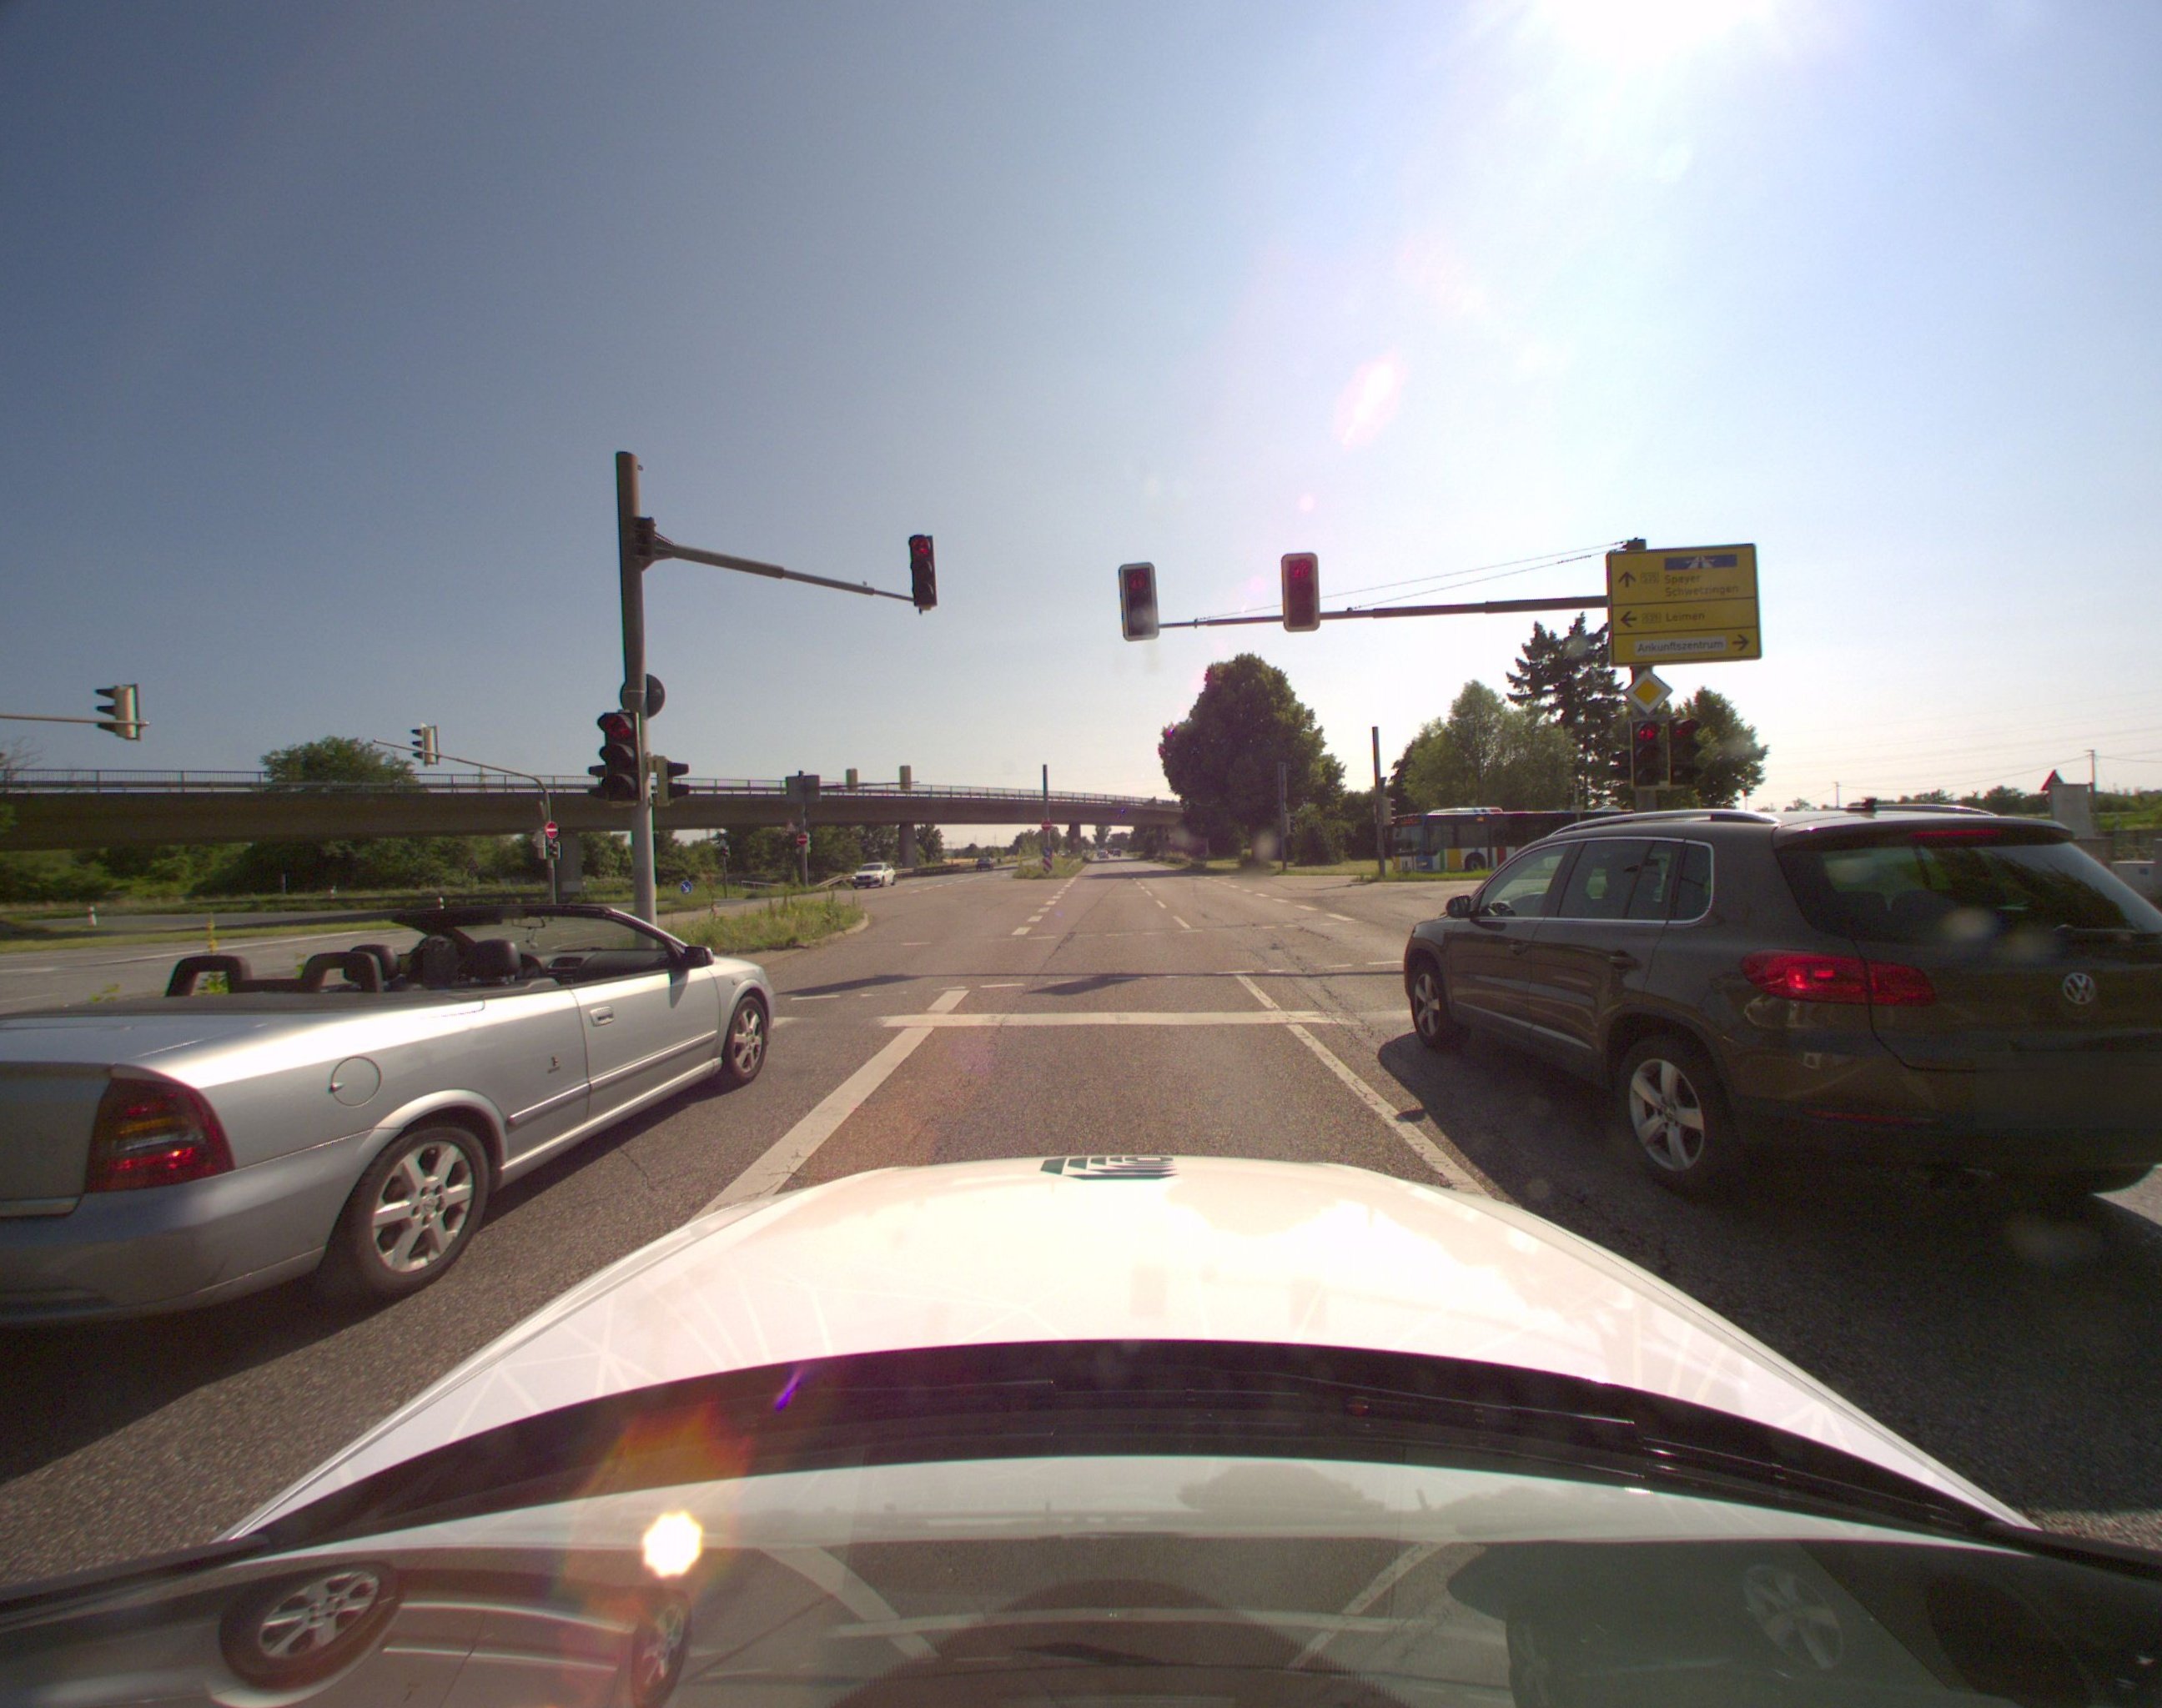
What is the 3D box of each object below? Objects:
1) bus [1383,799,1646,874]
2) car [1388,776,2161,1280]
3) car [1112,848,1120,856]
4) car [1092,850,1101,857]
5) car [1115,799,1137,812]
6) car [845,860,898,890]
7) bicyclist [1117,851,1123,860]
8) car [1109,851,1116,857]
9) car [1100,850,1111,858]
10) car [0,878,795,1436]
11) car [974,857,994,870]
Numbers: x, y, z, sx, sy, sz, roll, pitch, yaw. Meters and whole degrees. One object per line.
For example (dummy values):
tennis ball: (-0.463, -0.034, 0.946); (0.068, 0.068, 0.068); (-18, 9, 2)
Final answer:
bus: (20.456, -0.828, 38.445); (11.953, 2.877, 2.929); (-3, 0, -14)
car: (3.414, 0.568, 4.762); (1.749, 1.655, 4.147); (0, 0, 1)
car: (8.261, -0.481, 192.152); (1.866, 1.640, 4.003); (0, 0, 3)
car: (3.581, -0.121, 188.785); (1.866, 1.640, 4.003); (-1, 0, 3)
car: (5.762, -6.175, 104.131); (1.306, 1.486, 3.218); (-3, 0, 32)
car: (-12.355, 1.213, 48.227); (1.876, 1.515, 4.148); (-5, 0, 1)
bicyclist: (8.027, 0.285, 167.686); (1.003, 1.886, 1.327); (-3, 0, 1)
car: (8.800, -0.109, 225.769); (1.986, 1.631, 4.001); (0, -1, 2)
car: (4.354, -0.048, 145.341); (1.843, 1.461, 4.003); (-1, 0, 3)
car: (-3.142, 0.894, 4.228); (1.667, 1.335, 4.100); (-3, 0, 2)
car: (-11.387, 1.104, 95.826); (1.608, 1.442, 3.778); (-5, 0, 2)
